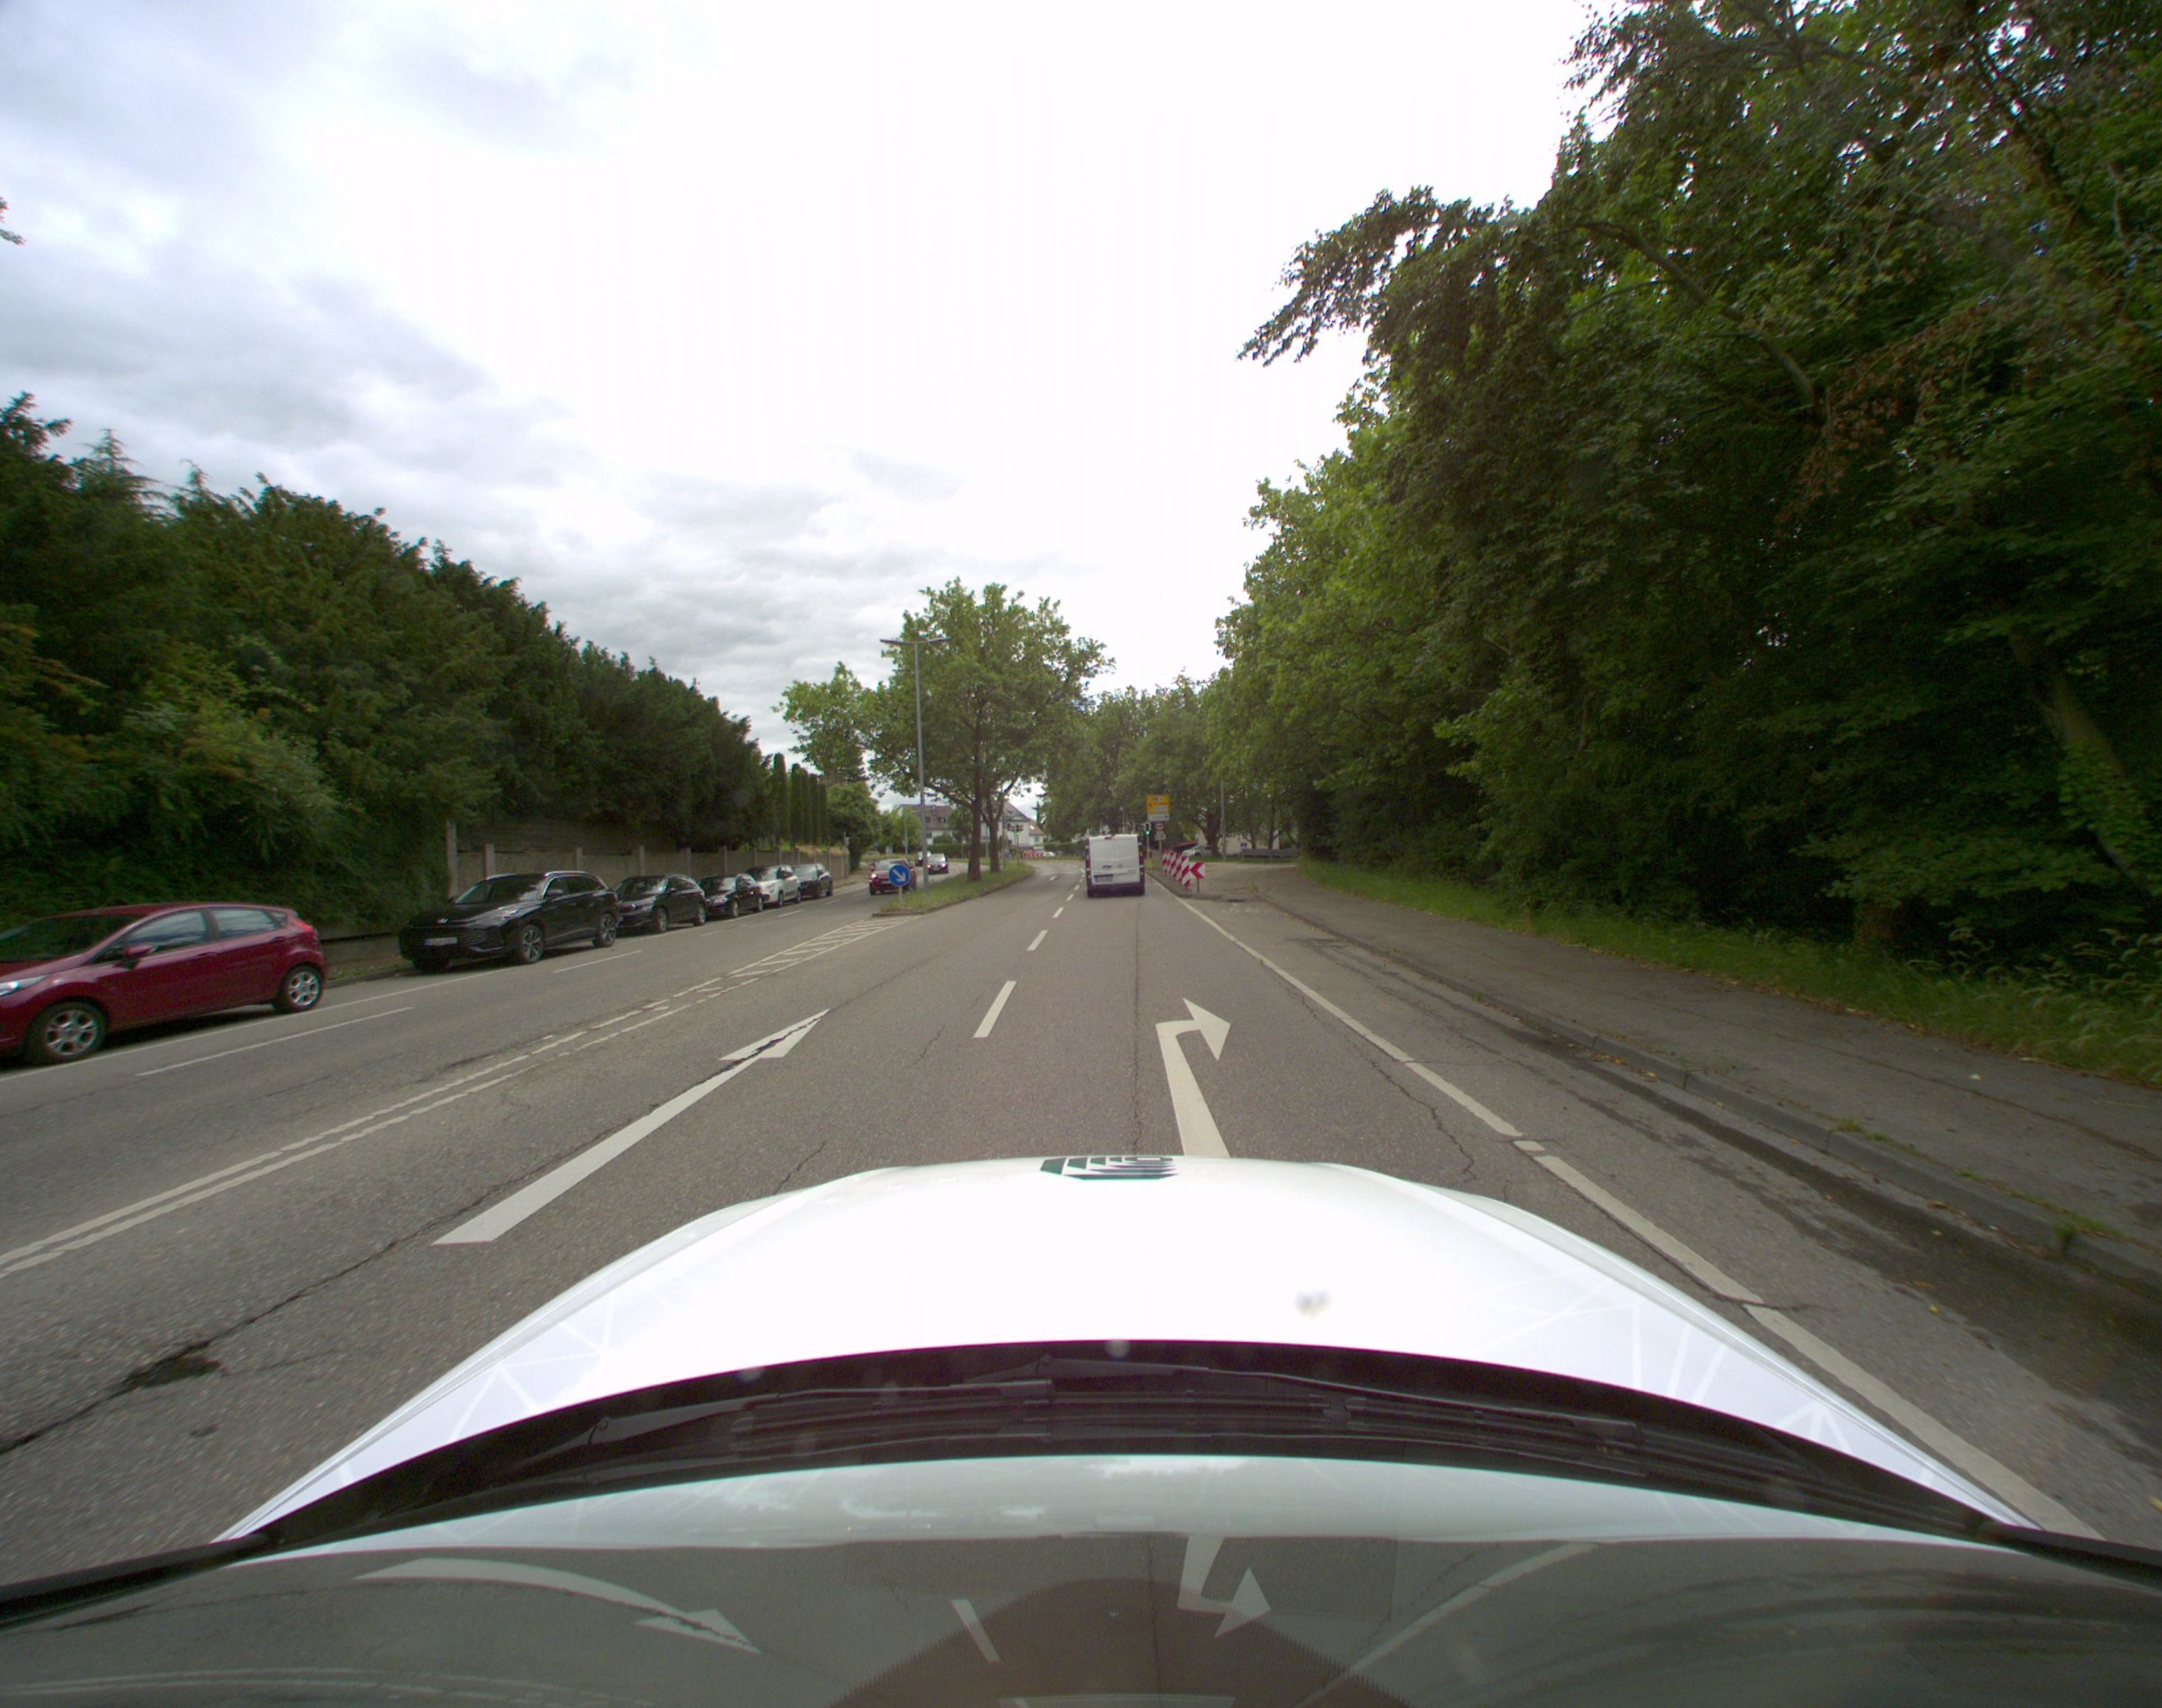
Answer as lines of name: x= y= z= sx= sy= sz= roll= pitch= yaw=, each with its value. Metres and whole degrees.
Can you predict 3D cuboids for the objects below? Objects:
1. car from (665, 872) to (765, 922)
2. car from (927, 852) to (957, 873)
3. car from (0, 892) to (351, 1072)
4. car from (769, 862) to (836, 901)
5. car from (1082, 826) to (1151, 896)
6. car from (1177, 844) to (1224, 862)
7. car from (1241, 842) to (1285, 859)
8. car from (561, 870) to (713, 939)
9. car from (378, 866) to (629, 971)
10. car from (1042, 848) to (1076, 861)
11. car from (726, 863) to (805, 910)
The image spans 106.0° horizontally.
car: x=-11.944 y=1.354 z=26.893 sx=1.645 sy=1.401 sz=4.214 roll=-2 pitch=-1 yaw=-5
car: x=-11.318 y=0.696 z=66.519 sx=1.994 sy=1.587 sz=3.991 roll=-3 pitch=0 yaw=-4
car: x=-10.522 y=1.247 z=8.837 sx=1.777 sy=1.438 sz=3.992 roll=-3 pitch=0 yaw=-6
car: x=-12.669 y=1.200 z=37.299 sx=1.885 sy=1.625 sz=4.421 roll=-2 pitch=-1 yaw=-6
car: x=1.101 y=0.243 z=27.523 sx=2.000 sy=2.038 sz=5.008 roll=-3 pitch=-1 yaw=0
car: x=12.580 y=-0.153 z=85.849 sx=4.763 sy=1.769 sz=1.979 roll=-2 pitch=0 yaw=-34
car: x=20.377 y=-0.374 z=91.092 sx=4.763 sy=1.769 sz=1.979 roll=-2 pitch=0 yaw=-34
car: x=-11.674 y=1.270 z=21.778 sx=1.943 sy=1.511 sz=4.097 roll=-4 pitch=0 yaw=-4
car: x=-10.945 y=1.114 z=15.946 sx=1.991 sy=1.643 sz=4.457 roll=-3 pitch=0 yaw=-6
car: x=-3.200 y=0.034 z=118.414 sx=4.683 sy=1.769 sz=2.013 roll=-2 pitch=0 yaw=35
car: x=-12.318 y=1.224 z=32.083 sx=1.669 sy=1.592 sz=4.090 roll=-4 pitch=0 yaw=-4
